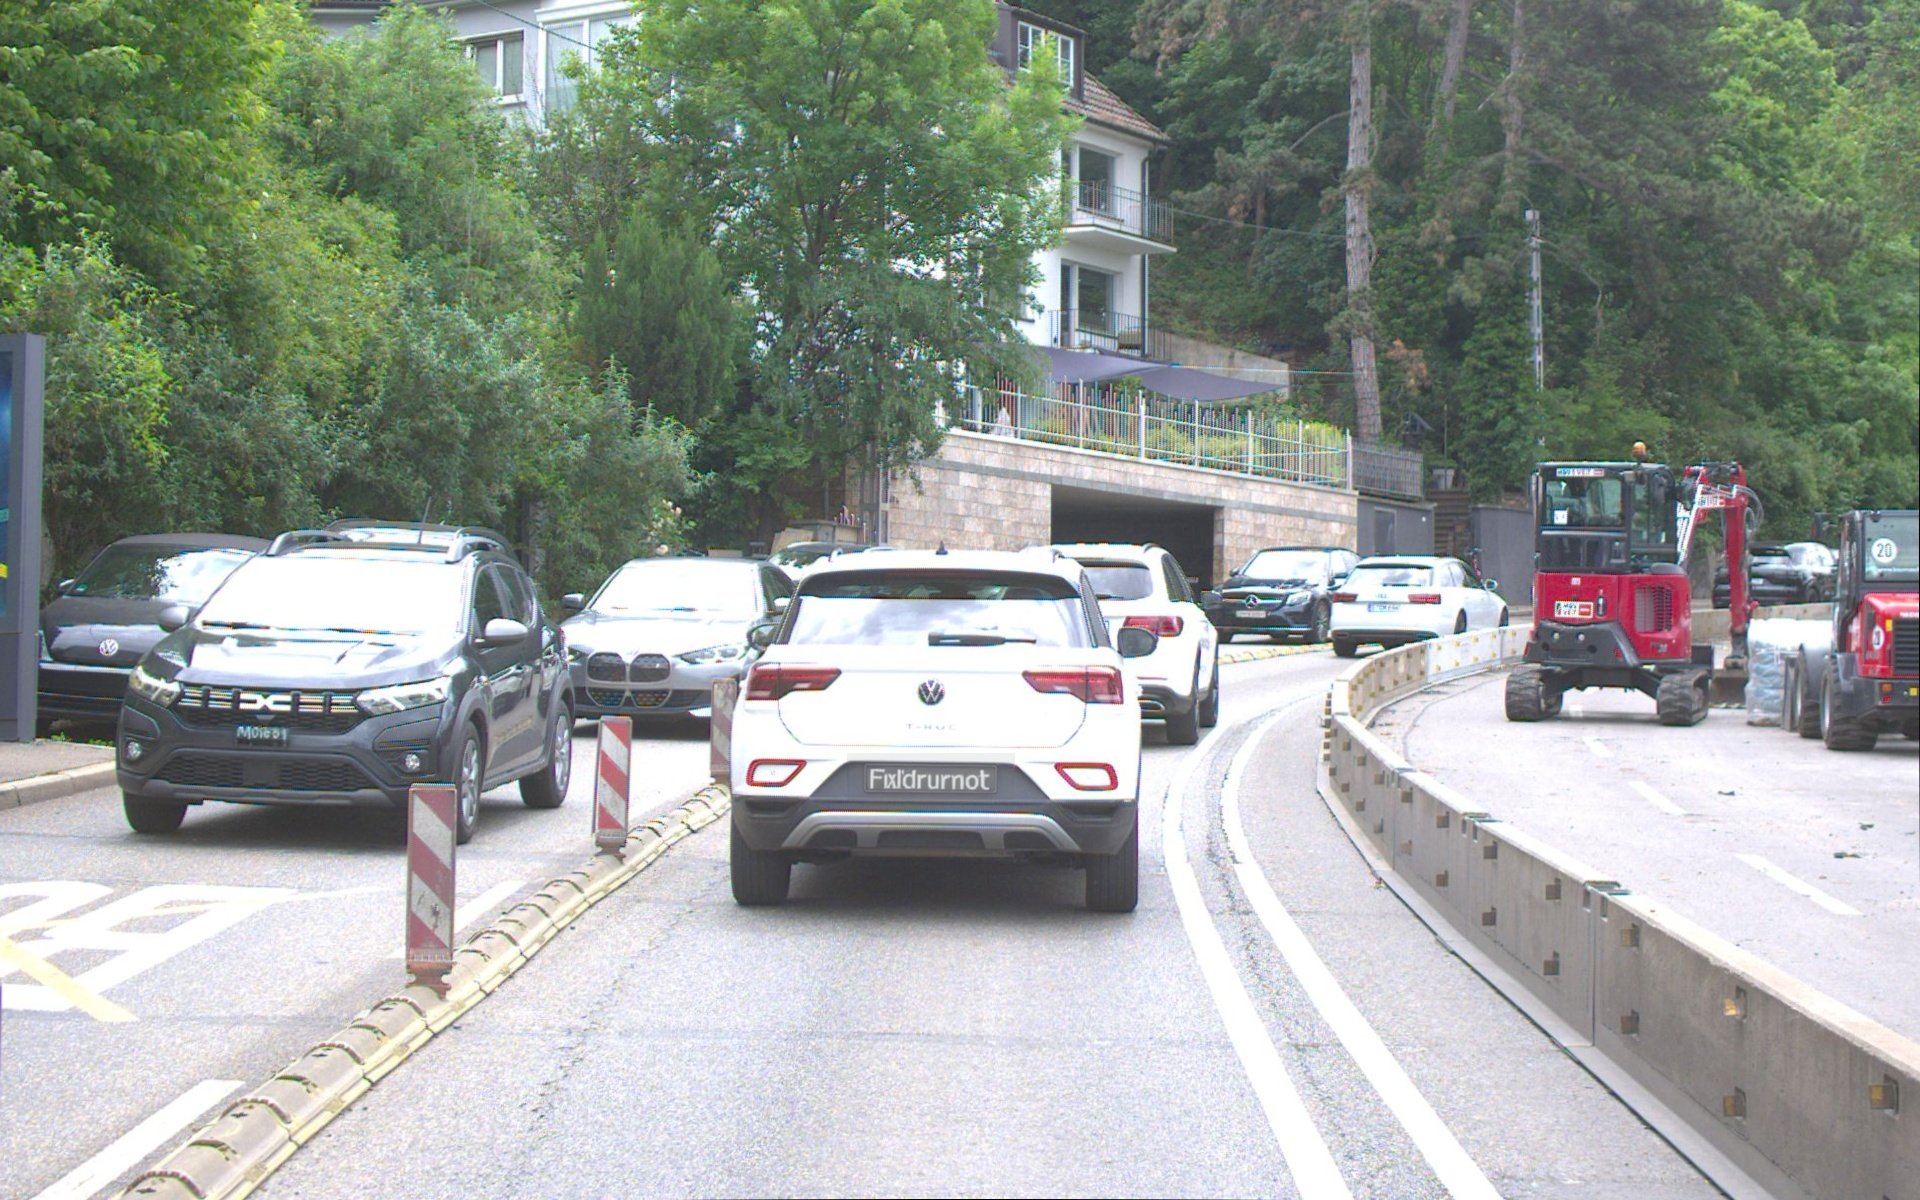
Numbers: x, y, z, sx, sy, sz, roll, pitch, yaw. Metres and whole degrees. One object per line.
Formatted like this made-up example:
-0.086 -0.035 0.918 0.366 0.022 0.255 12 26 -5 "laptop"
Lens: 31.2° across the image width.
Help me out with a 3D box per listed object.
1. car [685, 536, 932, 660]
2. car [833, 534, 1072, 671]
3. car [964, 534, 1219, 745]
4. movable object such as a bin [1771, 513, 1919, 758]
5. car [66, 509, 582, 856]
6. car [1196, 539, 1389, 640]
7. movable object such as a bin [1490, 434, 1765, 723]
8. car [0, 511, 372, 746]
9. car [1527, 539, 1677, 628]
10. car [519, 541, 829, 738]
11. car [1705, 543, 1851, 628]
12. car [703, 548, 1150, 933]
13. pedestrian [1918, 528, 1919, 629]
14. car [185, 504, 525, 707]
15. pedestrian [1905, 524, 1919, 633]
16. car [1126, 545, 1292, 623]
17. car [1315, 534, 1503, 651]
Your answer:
-1.931 -0.055 45.467 1.737 1.446 4.680 4 2 17 "car"
-0.028 -0.020 41.906 1.797 1.441 4.360 2 3 15 "car"
1.187 0.286 29.227 1.810 1.657 3.999 0 1 7 "car"
8.066 0.254 29.411 1.702 1.936 4.164 1 1 7 "movable object such as a bin"
-3.289 0.370 18.527 1.815 1.616 3.819 2 1 4 "car"
5.516 -0.189 56.616 1.770 1.562 4.224 2 1 26 "car"
6.763 -0.250 34.415 2.213 2.653 4.941 1 1 16 "movable object such as a bin"
-5.757 0.161 25.372 1.794 1.505 3.999 3 1 5 "car"
11.364 -0.313 60.674 1.796 1.505 3.995 0 1 23 "car"
-2.343 0.301 29.236 1.796 1.477 4.328 2 0 6 "car"
16.581 -0.315 69.585 1.813 1.657 3.993 0 1 30 "car"
-0.142 0.546 16.080 1.810 1.526 4.000 1 1 0 "car"
17.818 -0.394 62.136 0.877 1.816 0.877 0 1 21 "pedestrian"
-5.306 0.024 30.672 1.687 1.600 4.185 3 1 8 "car"
16.962 -0.377 60.211 0.690 1.900 0.825 0 1 9 "pedestrian"
5.079 -0.310 69.815 1.785 1.448 3.695 2 0 32 "car"
6.651 -0.136 50.601 1.812 1.657 3.996 0 1 21 "car"
